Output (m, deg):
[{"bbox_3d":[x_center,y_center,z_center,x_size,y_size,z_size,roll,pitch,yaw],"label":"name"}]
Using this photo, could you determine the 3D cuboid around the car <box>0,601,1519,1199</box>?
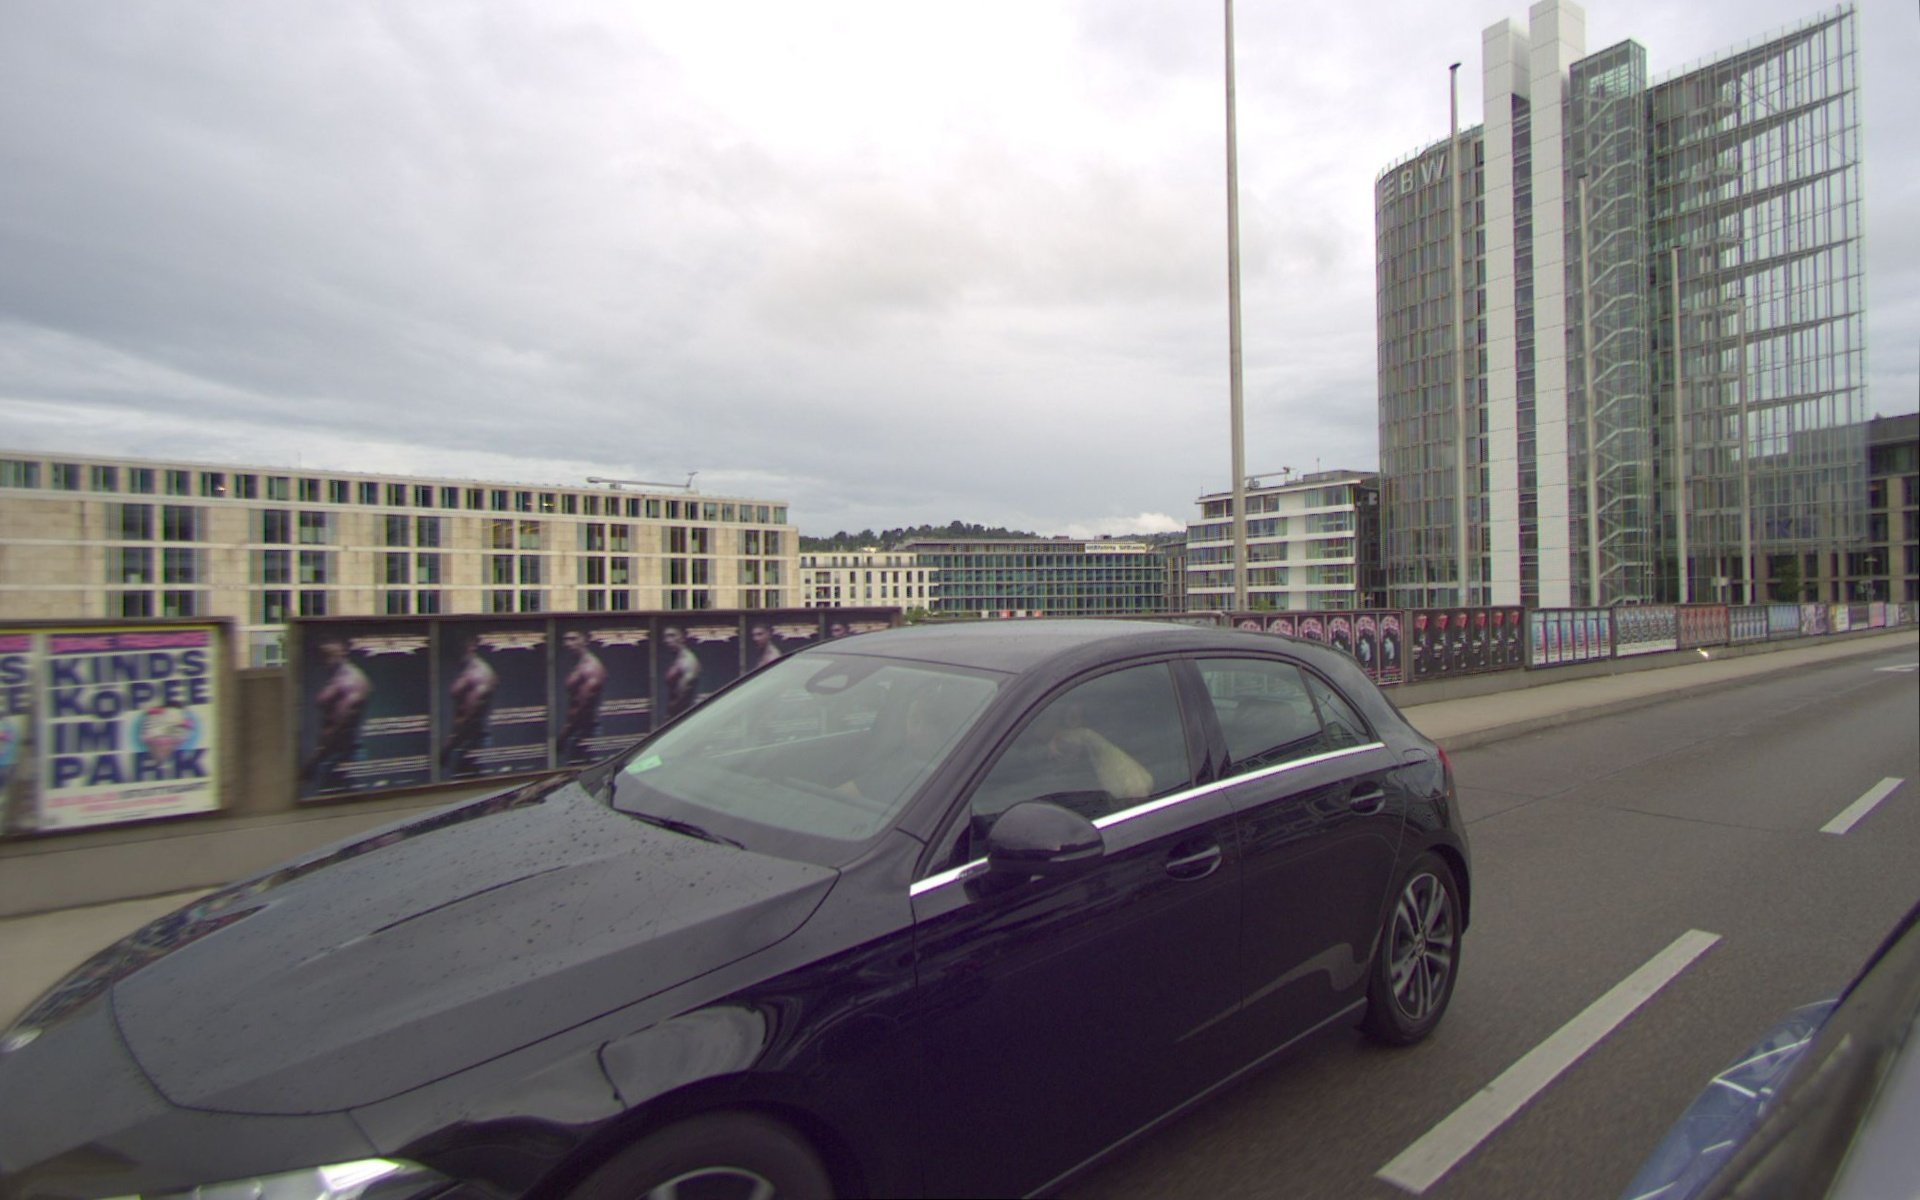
[{"bbox_3d":[-0.058,0.744,3.031,4.082,1.393,1.726,-1,1,-41],"label":"car"}]
